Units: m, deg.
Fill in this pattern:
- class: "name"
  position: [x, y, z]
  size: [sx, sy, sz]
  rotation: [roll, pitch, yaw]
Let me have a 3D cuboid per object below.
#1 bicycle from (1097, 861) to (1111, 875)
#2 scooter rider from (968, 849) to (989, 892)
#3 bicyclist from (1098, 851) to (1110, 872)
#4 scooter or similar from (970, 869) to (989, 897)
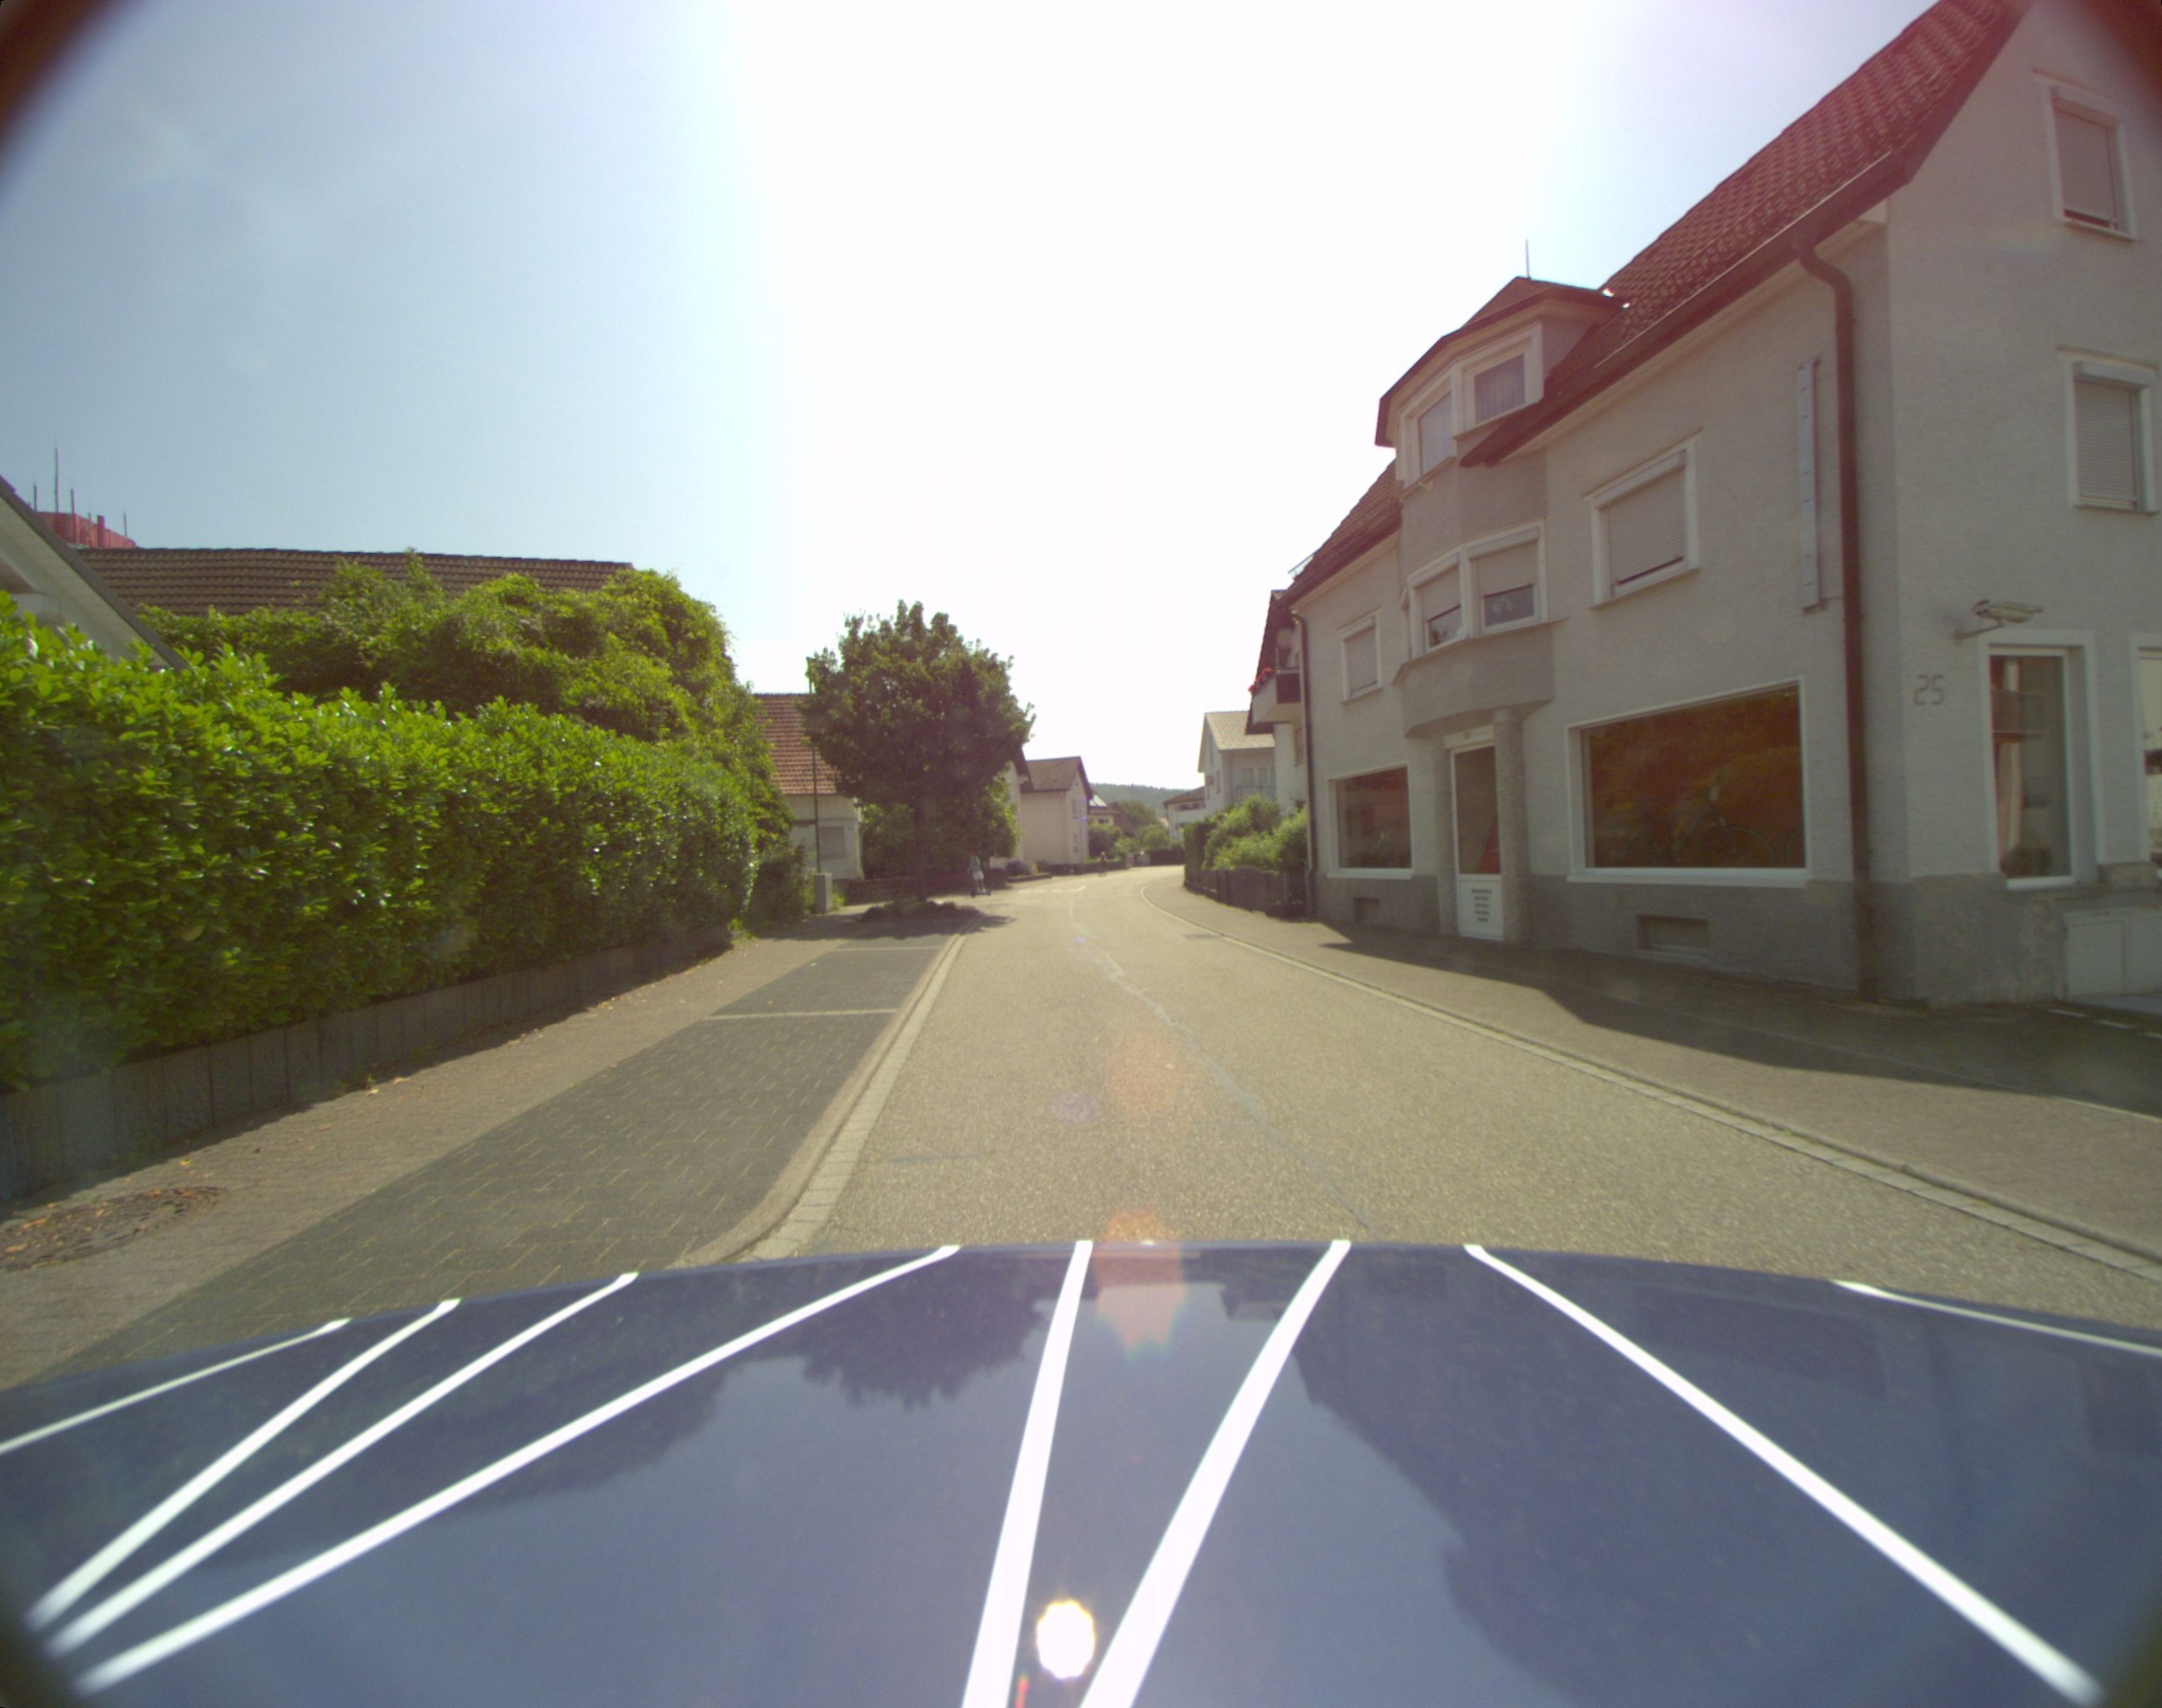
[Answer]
- class: "bicycle"
  position: [1.660, 1.018, 54.835]
  size: [0.520, 0.899, 1.315]
  rotation: [-2, 1, 25]
- class: "scooter rider"
  position: [-4.222, 0.679, 31.363]
  size: [0.616, 1.714, 0.640]
  rotation: [-2, 1, 9]
- class: "bicyclist"
  position: [1.660, 0.533, 54.869]
  size: [0.546, 1.481, 0.798]
  rotation: [-2, 1, 25]
- class: "scooter or similar"
  position: [-4.197, 1.185, 31.378]
  size: [0.542, 1.083, 0.691]
  rotation: [-2, 1, 9]
